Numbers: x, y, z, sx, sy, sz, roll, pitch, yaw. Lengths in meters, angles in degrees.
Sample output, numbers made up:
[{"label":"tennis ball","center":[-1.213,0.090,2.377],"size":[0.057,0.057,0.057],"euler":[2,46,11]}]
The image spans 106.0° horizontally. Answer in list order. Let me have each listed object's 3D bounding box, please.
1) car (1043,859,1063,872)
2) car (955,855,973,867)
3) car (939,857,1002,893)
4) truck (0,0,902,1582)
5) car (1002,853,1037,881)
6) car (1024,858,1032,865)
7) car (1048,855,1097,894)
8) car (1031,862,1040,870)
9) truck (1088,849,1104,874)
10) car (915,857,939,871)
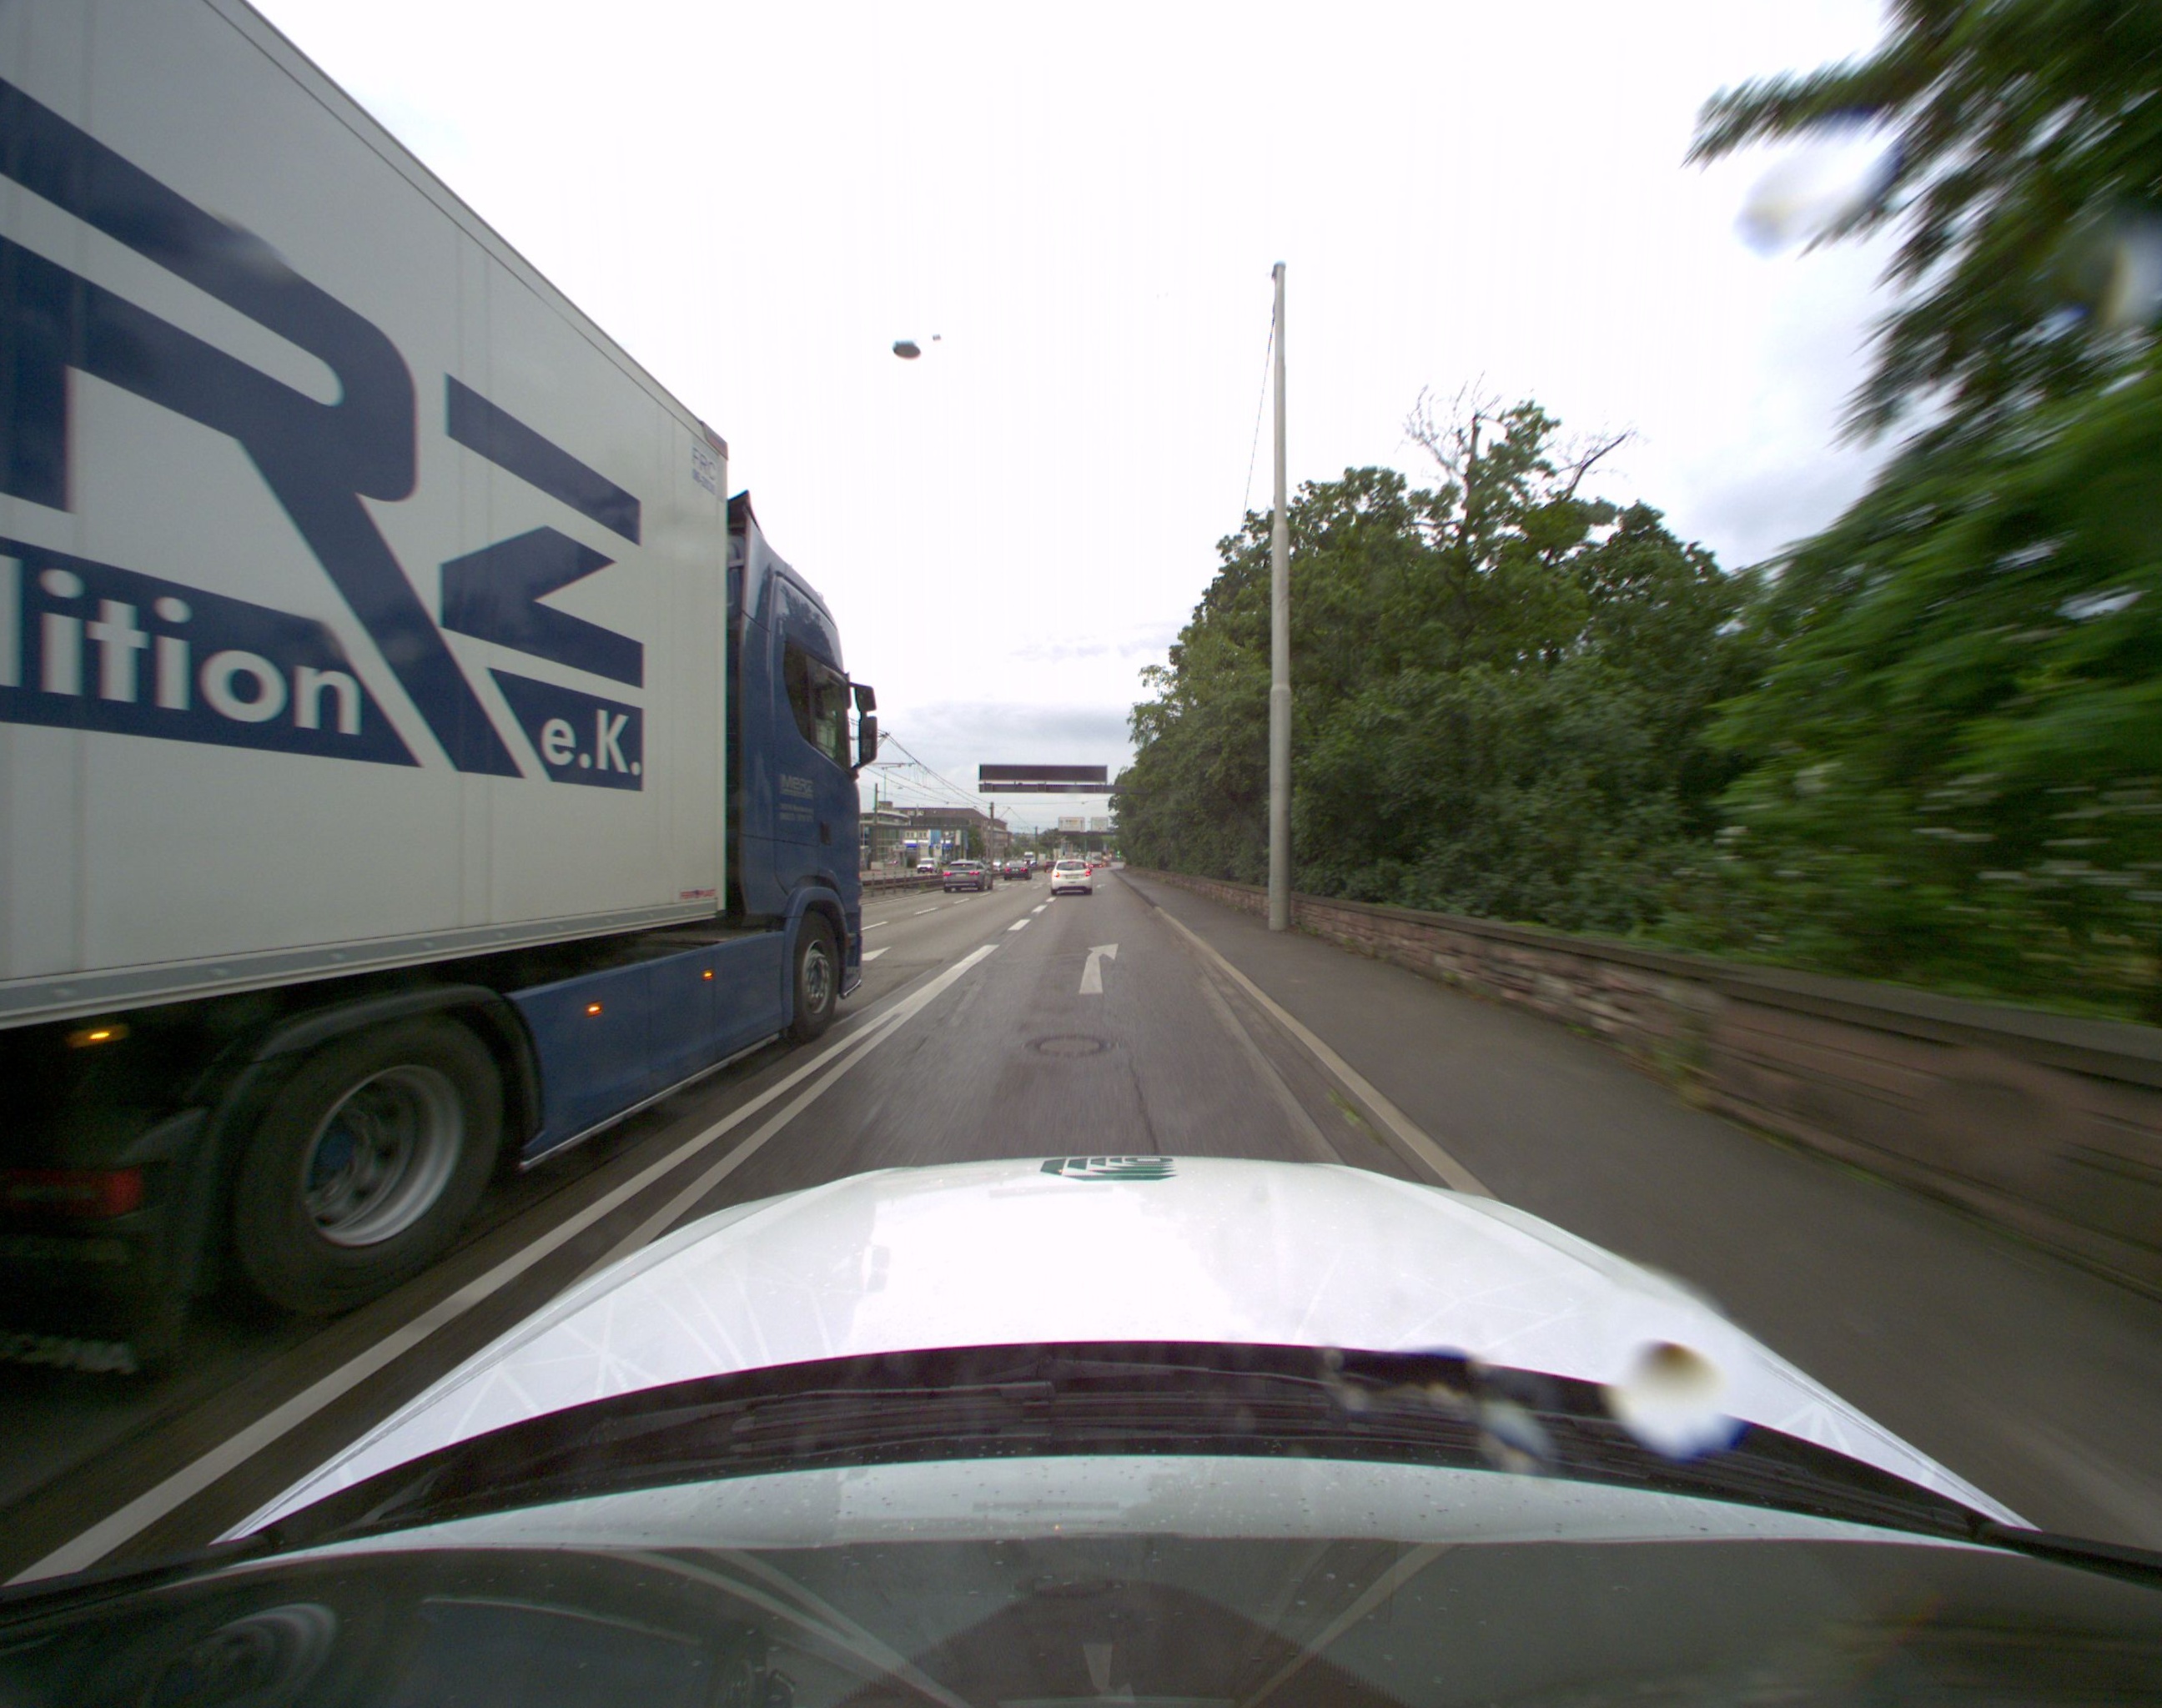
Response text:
[{"label":"car","center":[-3.464,1.414,101.738],"size":[1.984,1.576,4.005],"euler":[0,-1,5]},{"label":"car","center":[-17.646,1.100,122.831],"size":[1.986,1.662,4.001],"euler":[1,-1,1]},{"label":"car","center":[-5.302,0.980,39.514],"size":[1.810,1.565,4.102],"euler":[-2,-1,9]},{"label":"truck","center":[-3.453,-0.560,4.845],"size":[2.750,4.197,6.791],"euler":[-2,0,4]},{"label":"car","center":[-4.627,0.941,61.701],"size":[1.711,1.891,3.546],"euler":[0,3,10]},{"label":"car","center":[-15.720,2.183,240.703],"size":[1.986,2.014,3.999],"euler":[1,-3,1]},{"label":"car","center":[-0.311,0.834,34.890],"size":[1.948,1.488,4.001],"euler":[1,0,1]},{"label":"car","center":[-11.965,3.173,215.130],"size":[1.986,2.014,3.999],"euler":[1,-3,1]},{"label":"truck","center":[3.814,1.911,201.844],"size":[3.450,5.402,12.059],"euler":[0,-3,4]},{"label":"car","center":[-18.490,1.229,97.793],"size":[1.986,1.662,4.001],"euler":[1,-1,1]}]
